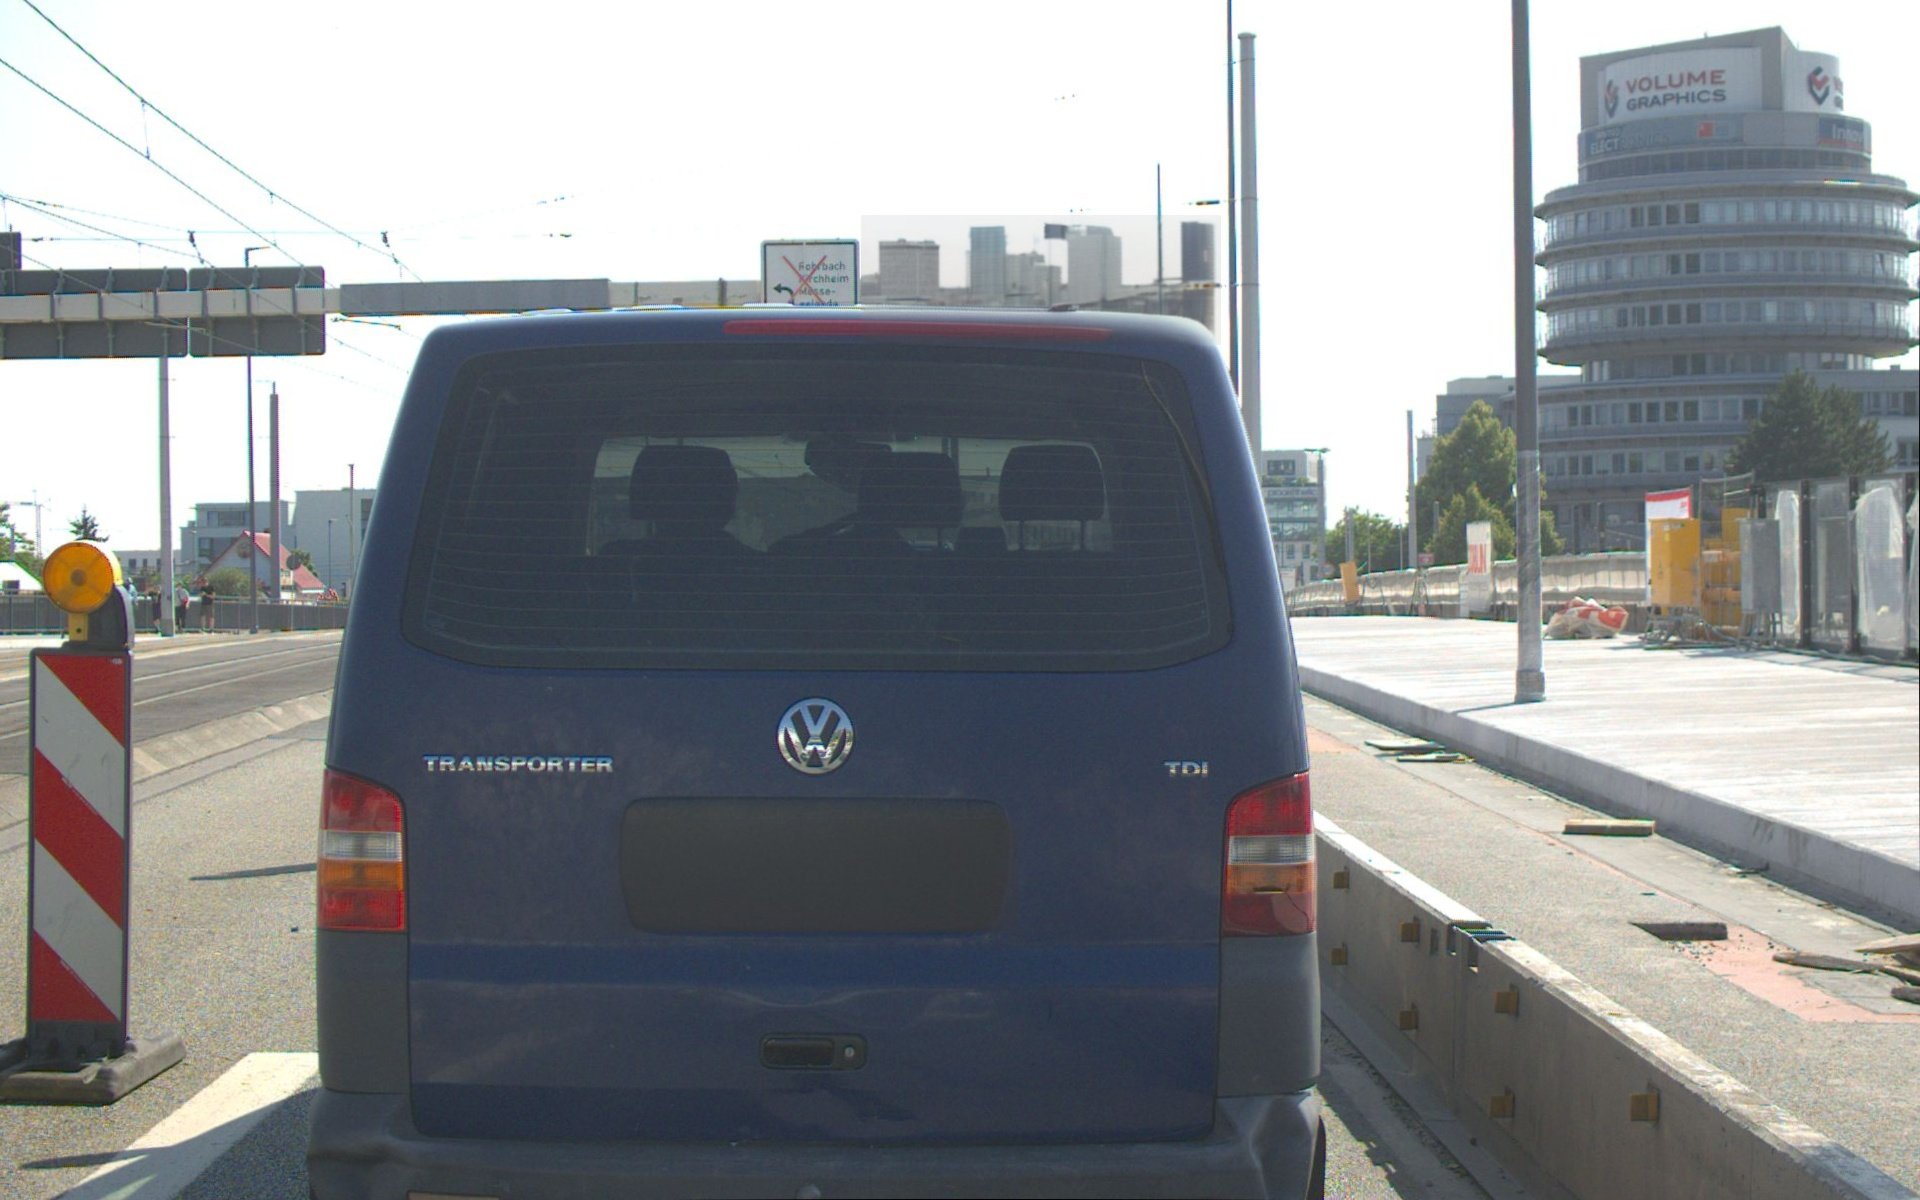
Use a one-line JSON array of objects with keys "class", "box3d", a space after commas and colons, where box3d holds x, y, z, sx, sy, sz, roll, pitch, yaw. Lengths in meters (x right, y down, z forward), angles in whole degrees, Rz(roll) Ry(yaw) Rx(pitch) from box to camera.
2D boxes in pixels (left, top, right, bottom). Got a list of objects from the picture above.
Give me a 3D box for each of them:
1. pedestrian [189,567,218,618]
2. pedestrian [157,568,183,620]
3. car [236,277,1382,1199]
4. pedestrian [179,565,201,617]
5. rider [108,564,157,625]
[{"class": "pedestrian", "box3d": [-25.272, -0.263, 114.881, 0.753, 1.681, 0.731, -1, 0, 3]}, {"class": "pedestrian", "box3d": [-25.694, -0.205, 111.853, 0.597, 1.681, 0.817, -1, 0, 3]}, {"class": "car", "box3d": [-0.278, 0.428, 7.751, 1.888, 1.927, 4.000, 1, 0, -1]}, {"class": "pedestrian", "box3d": [-25.103, -0.282, 112.115, 0.486, 1.681, 0.808, -1, 0, 3]}, {"class": "rider", "box3d": [-23.901, -0.170, 99.333, 0.763, 1.727, 2.952, 0, 1, -1]}]
